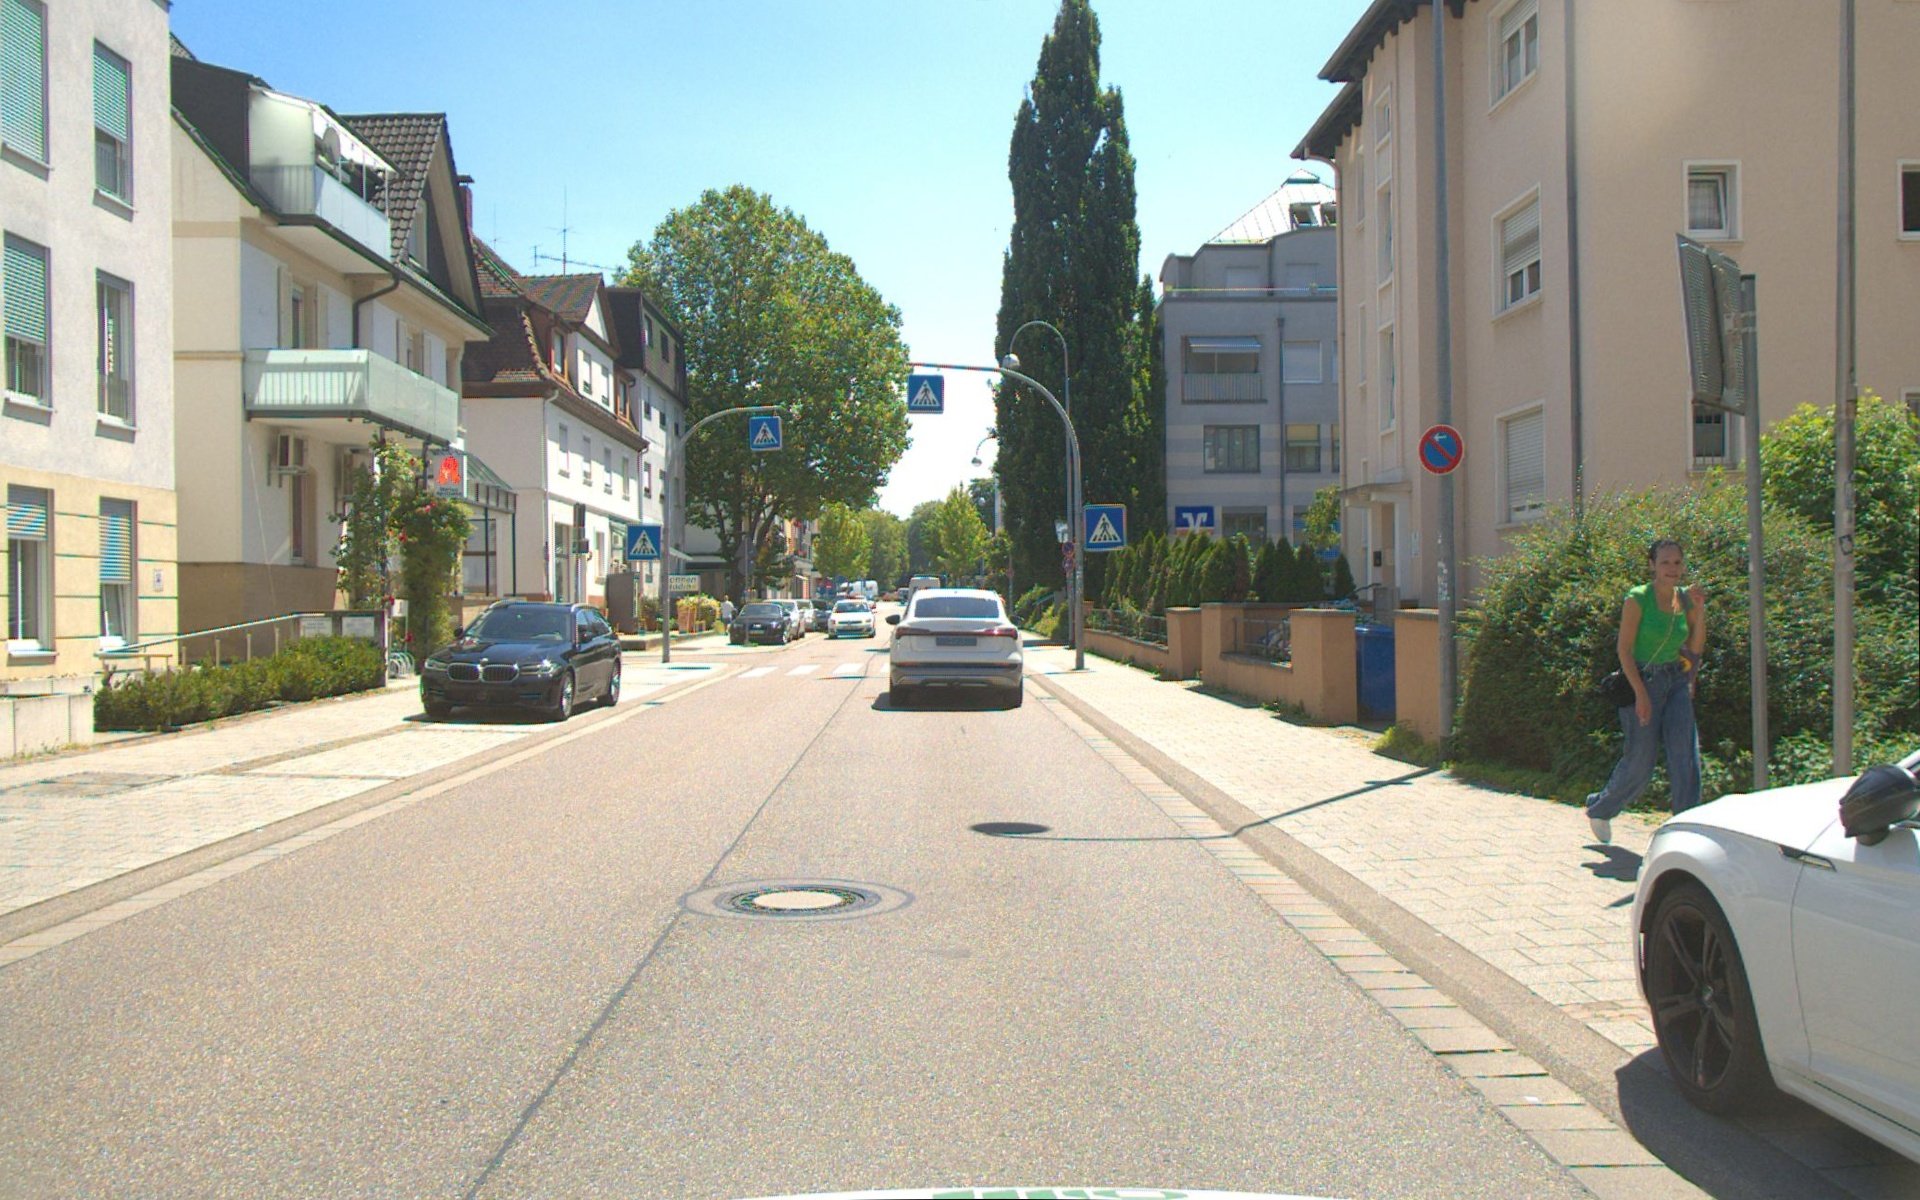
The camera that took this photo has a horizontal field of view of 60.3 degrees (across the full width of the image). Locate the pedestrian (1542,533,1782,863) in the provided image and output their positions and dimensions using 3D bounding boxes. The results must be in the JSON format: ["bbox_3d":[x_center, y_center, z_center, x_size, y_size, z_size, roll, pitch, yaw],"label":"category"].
[{"bbox_3d":[3.946,0.524,9.361,0.668,1.729,1.045,-2,-1,-18],"label":"pedestrian"}]

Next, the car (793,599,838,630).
[{"bbox_3d":[-7.033,0.682,80.656,1.941,1.477,5.148,0,0,-2],"label":"car"}]

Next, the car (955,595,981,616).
[{"bbox_3d":[0.601,0.404,123.132,1.857,1.463,4.544,-1,0,0],"label":"car"}]

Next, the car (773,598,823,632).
[{"bbox_3d":[-7.281,0.658,74.753,1.941,1.477,4.866,0,0,-2],"label":"car"}]

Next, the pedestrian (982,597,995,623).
[{"bbox_3d":[1.883,0.667,109.280,0.686,1.655,0.783,-4,0,-3],"label":"pedestrian"}]

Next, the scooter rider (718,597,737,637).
[{"bbox_3d":[-9.337,0.677,66.457,0.576,1.603,0.877,1,0,0],"label":"scooter rider"}]

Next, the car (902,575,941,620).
[{"bbox_3d":[-2.194,-0.141,95.293,2.112,2.484,5.282,1,0,-1],"label":"car"}]

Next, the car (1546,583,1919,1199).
[{"bbox_3d":[3.107,0.702,3.467,1.877,1.494,4.879,-2,0,-2],"label":"car"}]

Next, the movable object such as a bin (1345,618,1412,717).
[{"bbox_3d":[4.904,0.784,19.415,0.612,1.119,0.633,-1,0,1],"label":"movable object such as a bin"}]

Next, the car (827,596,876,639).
[{"bbox_3d":[-4.147,0.653,63.768,1.772,1.508,3.867,-3,0,-3],"label":"car"}]

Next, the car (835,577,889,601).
[{"bbox_3d":[-12.287,-1.364,208.031,7.049,2.675,2.011,-3,0,-43],"label":"car"}]

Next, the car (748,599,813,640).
[{"bbox_3d":[-6.795,0.712,63.042,1.940,1.477,5.356,0,0,-1],"label":"car"}]

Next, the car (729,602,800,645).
[{"bbox_3d":[-6.685,0.781,56.974,1.903,1.397,5.097,0,0,-1],"label":"car"}]

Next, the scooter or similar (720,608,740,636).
[{"bbox_3d":[-9.341,0.895,67.120,0.649,1.117,1.028,1,0,0],"label":"scooter or similar"}]

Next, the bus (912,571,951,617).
[{"bbox_3d":[-2.138,-0.408,124.533,2.606,3.278,7.302,1,0,1],"label":"bus"}]

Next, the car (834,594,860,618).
[{"bbox_3d":[-8.326,0.448,122.176,1.717,1.732,4.100,1,0,-2],"label":"car"}]

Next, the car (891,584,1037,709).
[{"bbox_3d":[-0.028,0.622,24.277,1.953,1.661,3.998,0,0,-3],"label":"car"}]

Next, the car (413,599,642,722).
[{"bbox_3d":[-5.903,0.756,23.256,1.877,1.477,5.148,2,0,-1],"label":"car"}]

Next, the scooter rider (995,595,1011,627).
[{"bbox_3d":[2.146,0.533,82.722,0.701,1.575,0.770,-2,0,-3],"label":"scooter rider"}]

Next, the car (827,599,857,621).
[{"bbox_3d":[-8.214,0.685,115.703,1.858,1.442,5.046,1,0,-2],"label":"car"}]
